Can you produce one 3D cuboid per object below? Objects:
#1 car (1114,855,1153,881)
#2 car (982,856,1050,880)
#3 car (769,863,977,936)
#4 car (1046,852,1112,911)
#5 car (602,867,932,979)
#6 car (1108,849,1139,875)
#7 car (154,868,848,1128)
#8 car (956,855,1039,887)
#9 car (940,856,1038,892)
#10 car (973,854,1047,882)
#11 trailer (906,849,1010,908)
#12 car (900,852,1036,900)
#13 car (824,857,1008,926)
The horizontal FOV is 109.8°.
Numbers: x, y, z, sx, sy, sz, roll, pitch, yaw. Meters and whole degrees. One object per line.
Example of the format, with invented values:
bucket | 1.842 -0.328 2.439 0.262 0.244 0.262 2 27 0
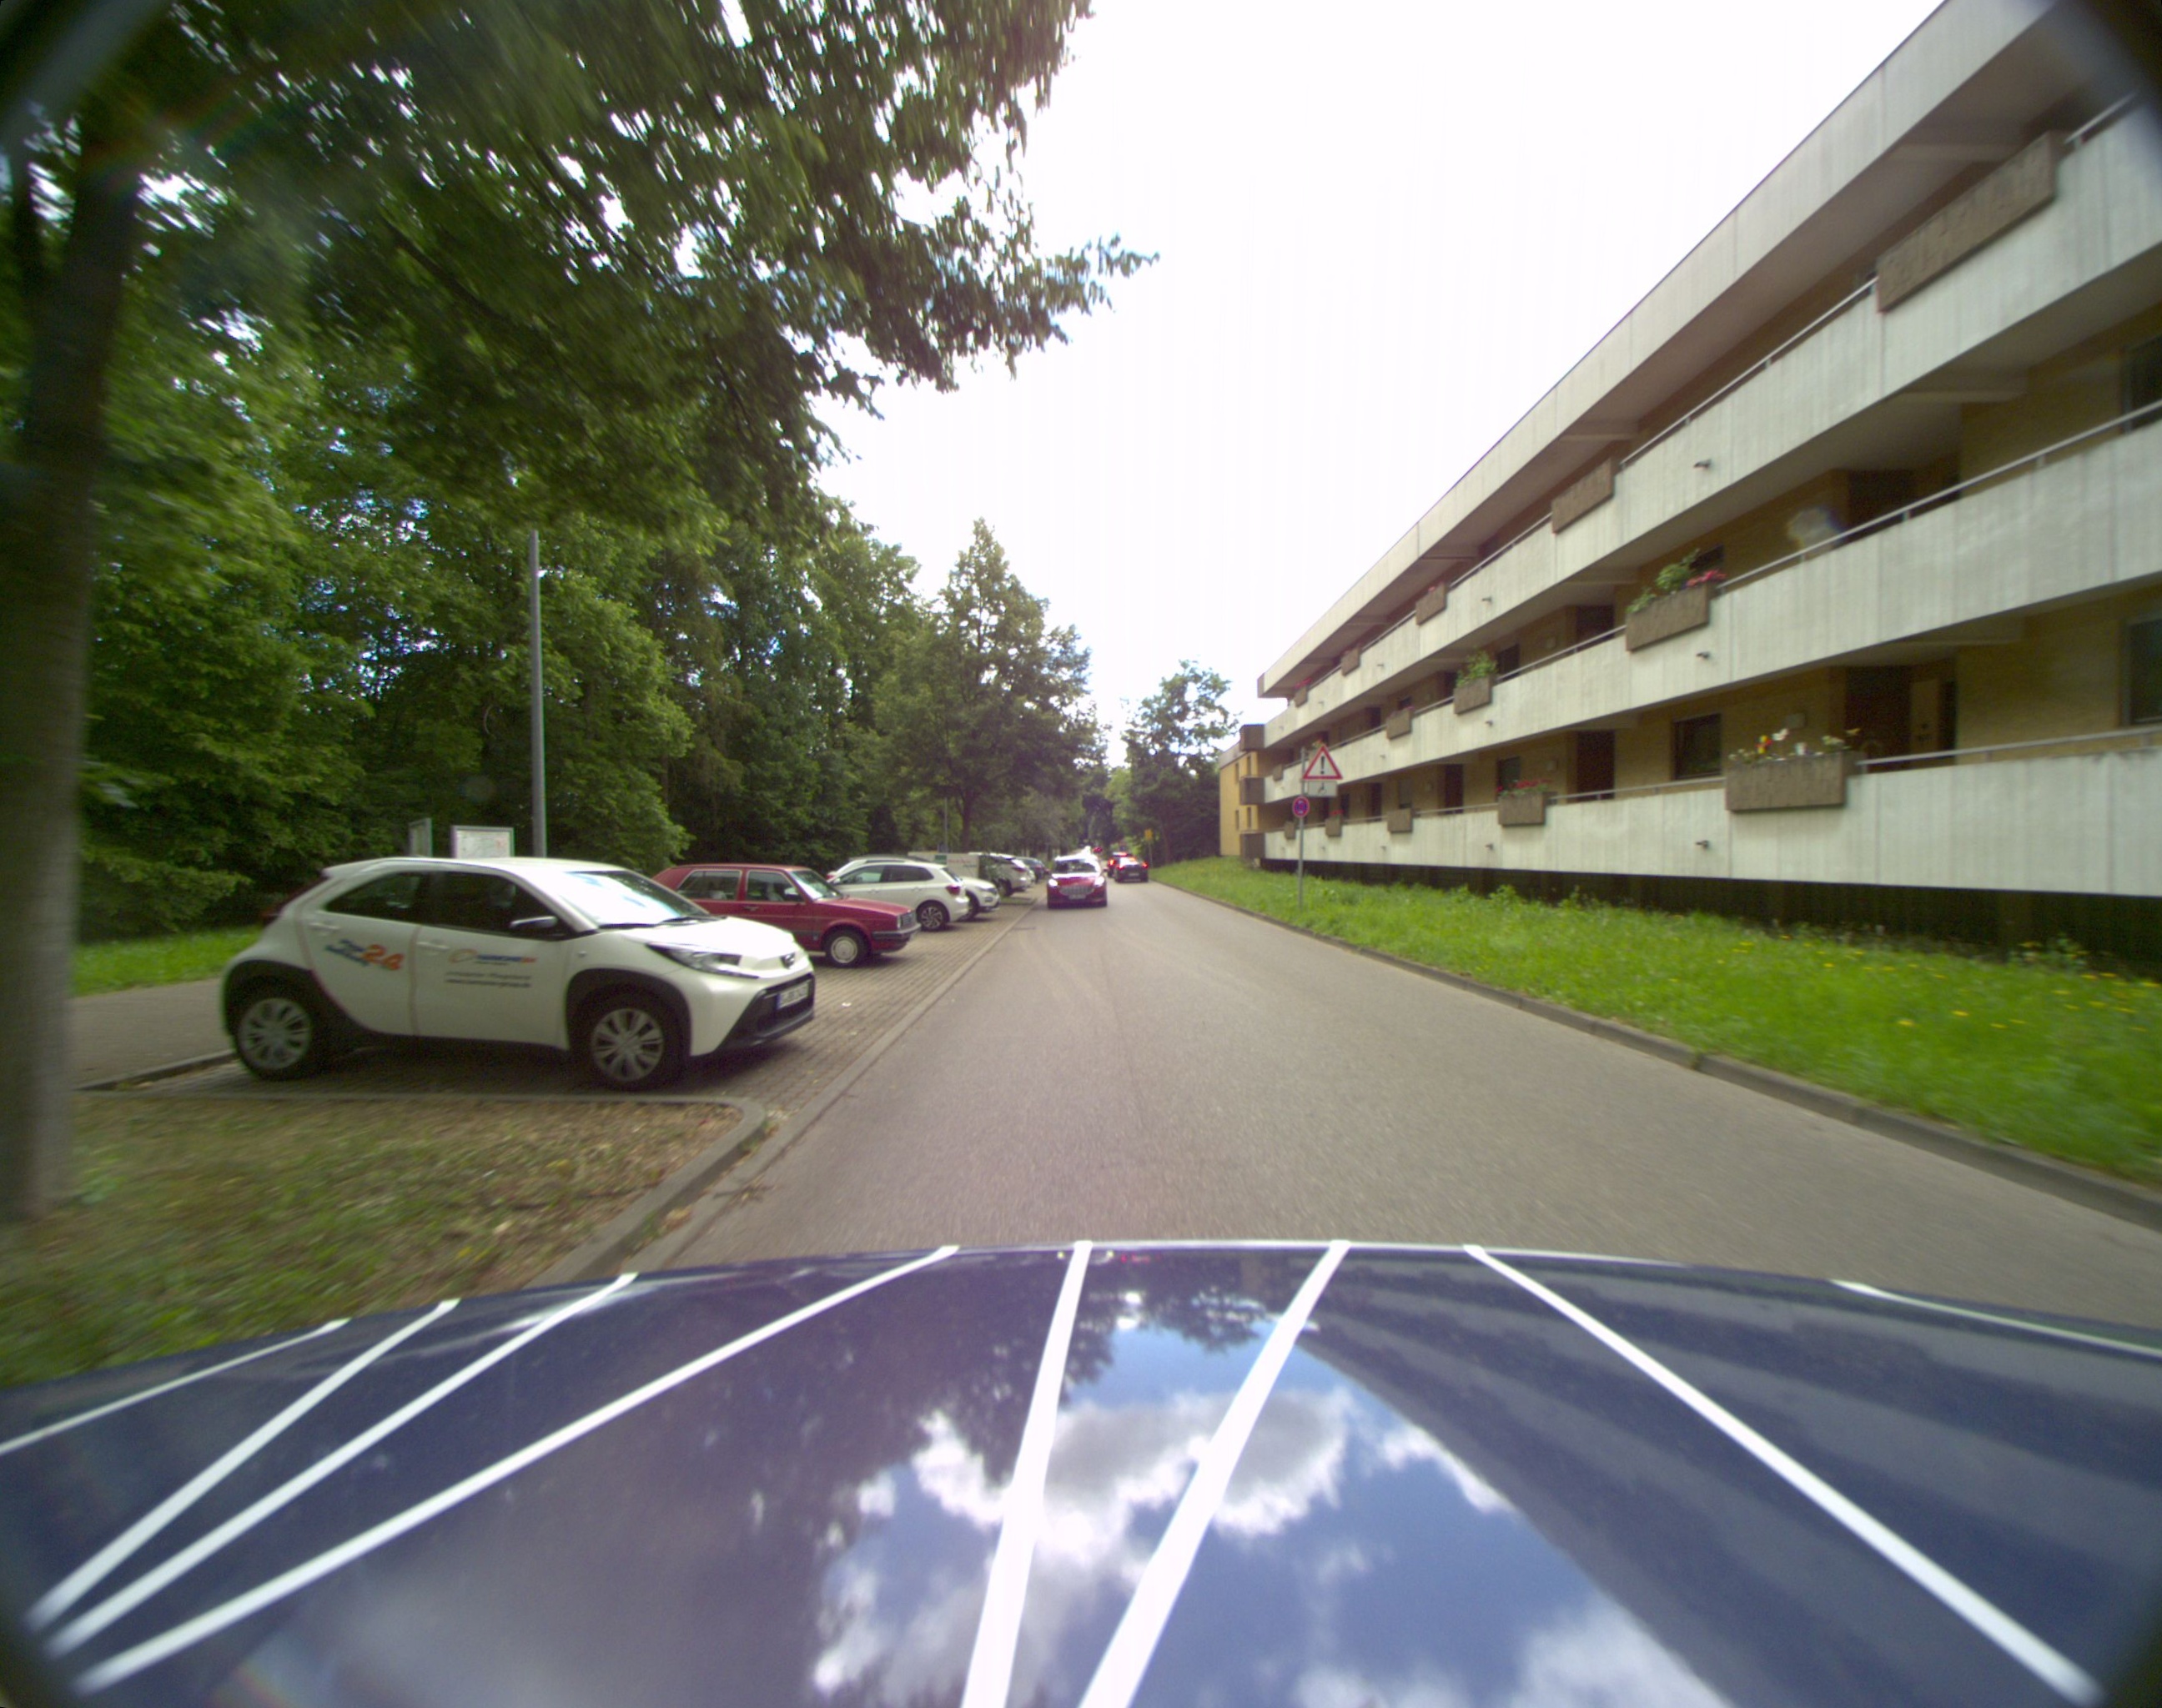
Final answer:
car | 2.980 0.773 43.997 1.918 1.403 4.423 -2 0 0
car | -3.977 0.862 46.881 4.097 1.455 1.785 0 1 -1
car | -4.319 0.943 16.277 4.020 1.414 1.791 1 1 -5
car | -0.035 0.810 25.189 1.918 1.707 5.038 -2 0 0
car | -4.395 0.947 11.114 4.064 1.414 1.816 1 1 -1
car | 2.952 0.549 53.904 1.918 1.707 5.058 -2 0 0
car | -4.002 0.911 5.738 3.849 1.507 1.881 1 1 3
car | -4.253 0.861 39.356 4.170 1.561 1.785 0 1 -4
car | -4.142 0.877 34.583 4.168 1.561 1.851 0 1 2
car | -4.094 0.812 44.241 4.146 1.561 1.785 0 1 -1
trailer | -3.819 0.752 23.977 3.038 1.780 1.563 1 1 -2
car | -4.259 0.807 29.099 4.828 1.683 1.974 1 1 4
car | -3.934 0.879 18.642 4.124 1.539 1.860 1 1 -2
